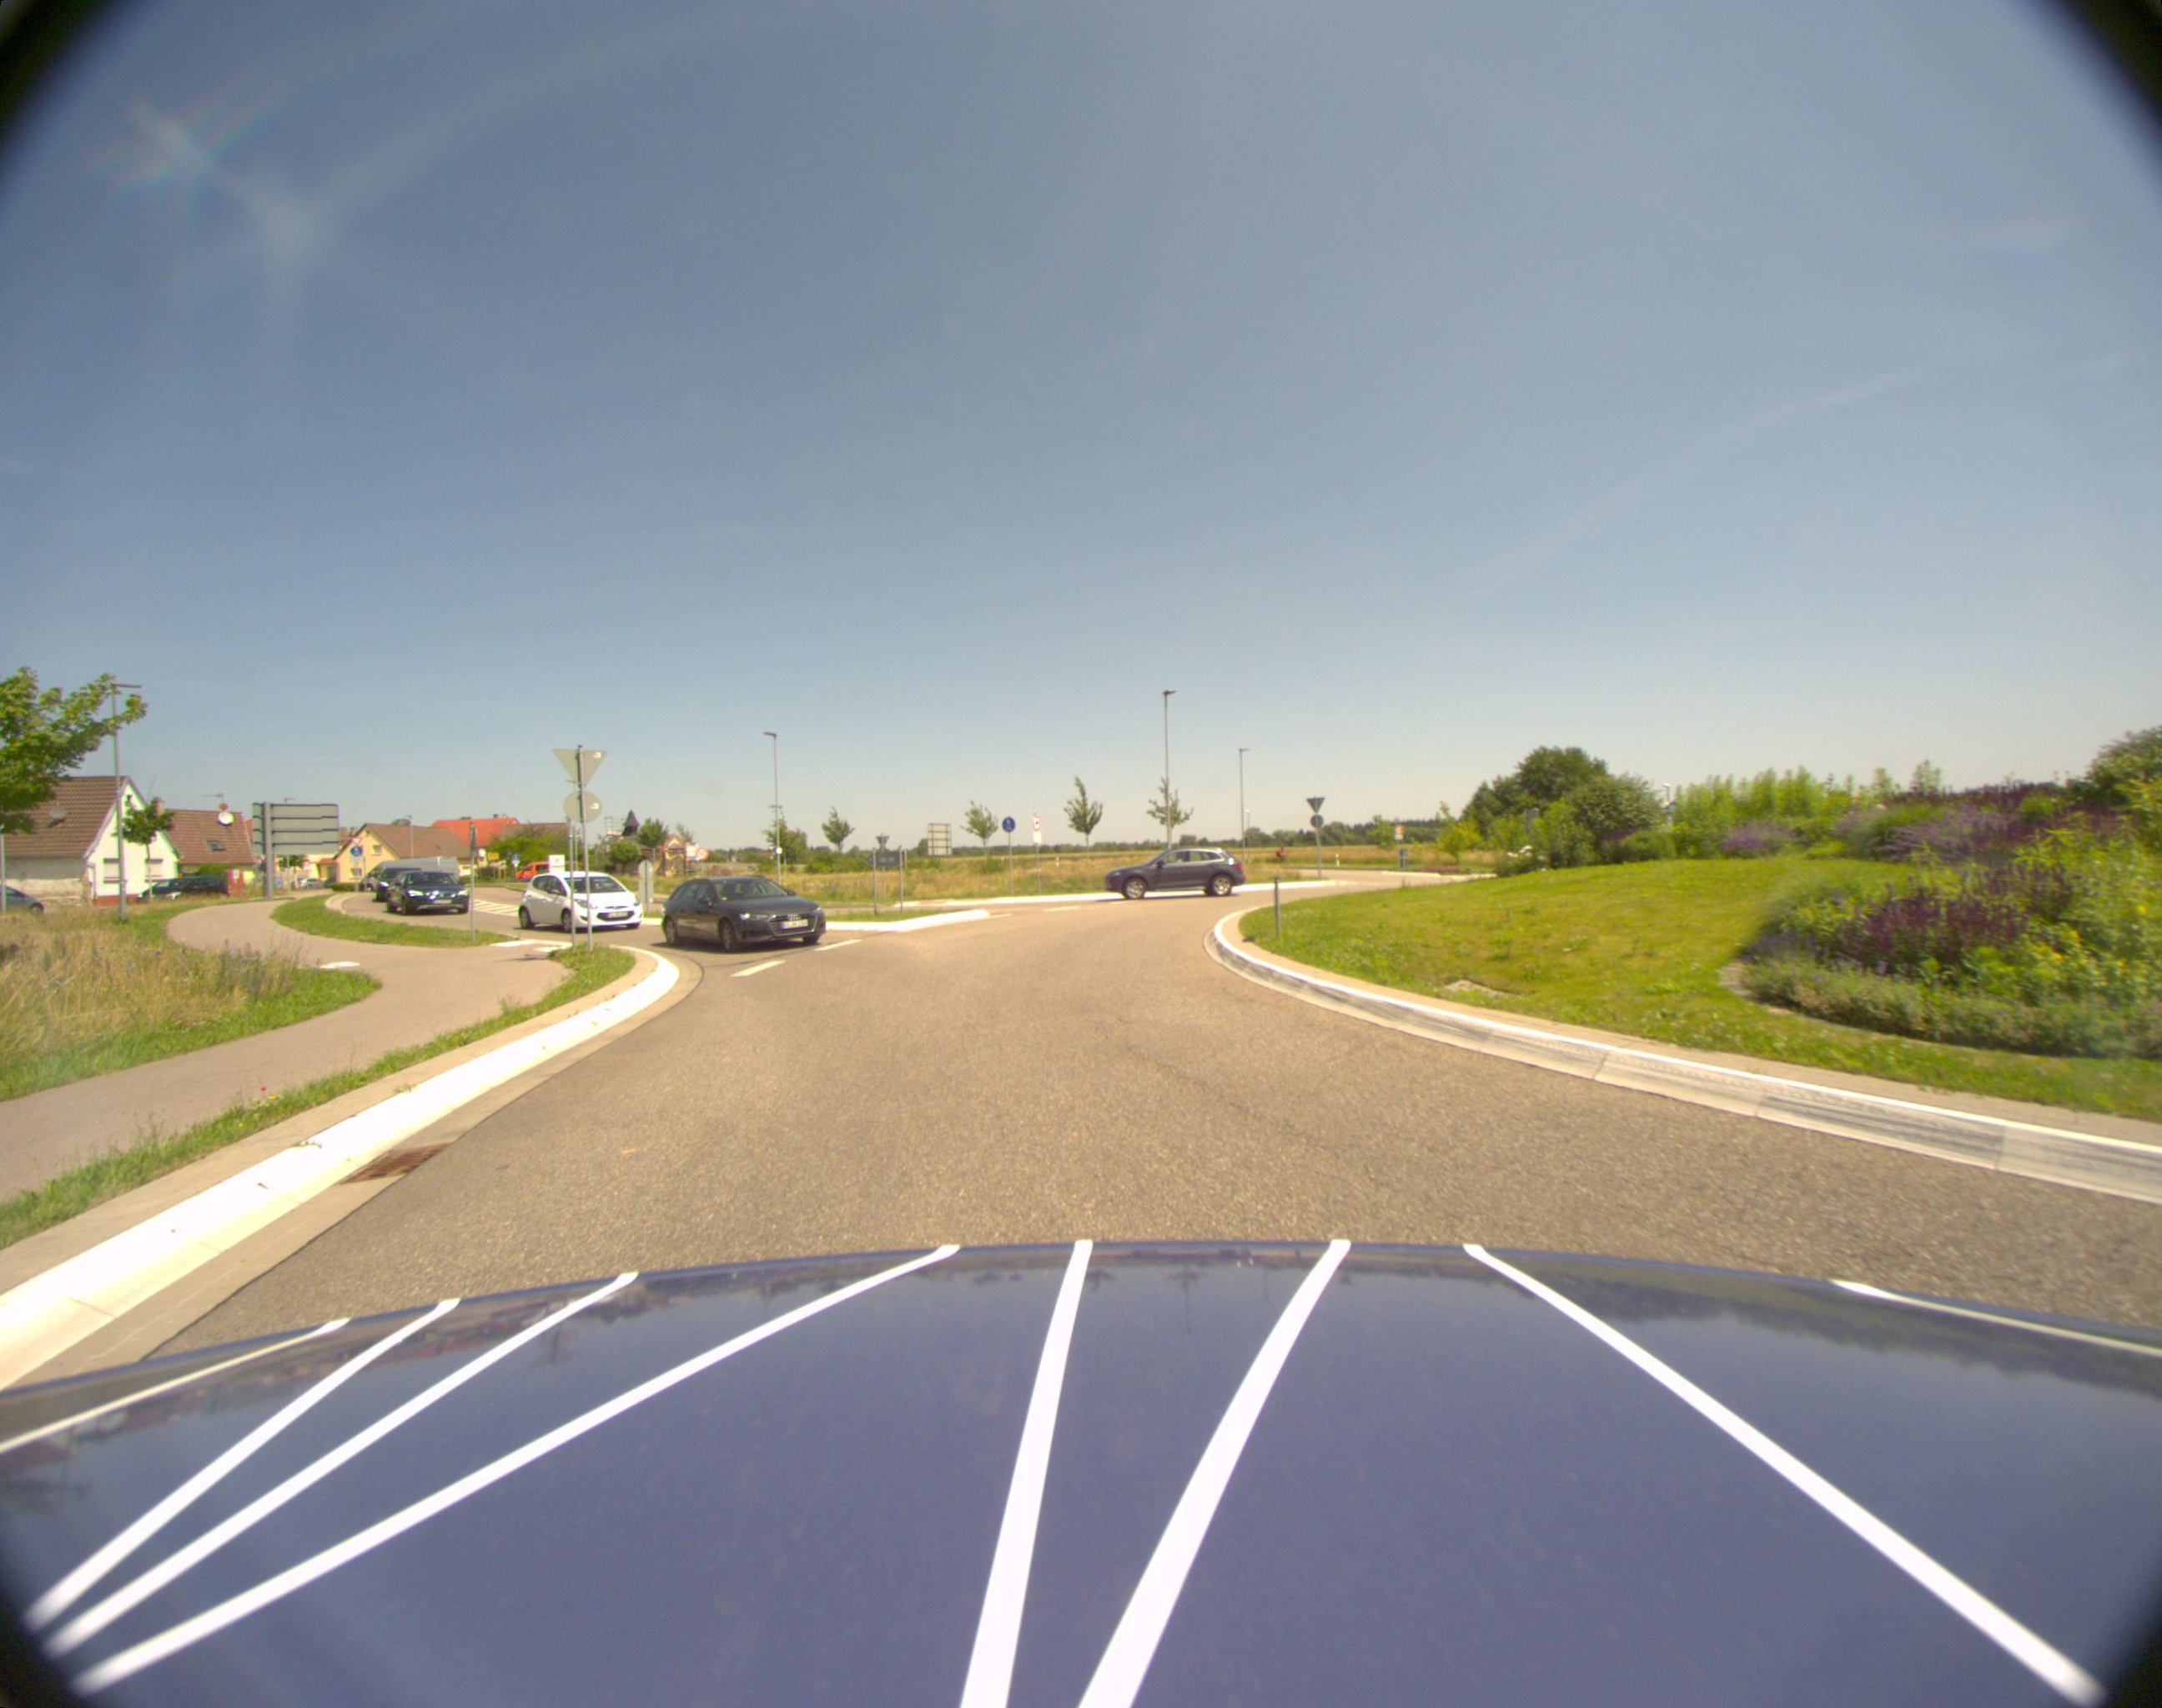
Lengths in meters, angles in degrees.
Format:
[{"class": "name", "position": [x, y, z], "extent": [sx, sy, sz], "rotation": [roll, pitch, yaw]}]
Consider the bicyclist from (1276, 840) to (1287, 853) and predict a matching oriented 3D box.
[{"class": "bicyclist", "position": [17.963, -0.666, 68.139], "extent": [0.580, 1.072, 0.722], "rotation": [-2, 1, -43]}]

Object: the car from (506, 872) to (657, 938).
[{"class": "car", "position": [-13.975, 1.343, 21.177], "extent": [4.508, 1.553, 1.873], "rotation": [-1, 1, 35]}]

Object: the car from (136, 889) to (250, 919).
[{"class": "car", "position": [-48.769, 2.715, 41.860], "extent": [1.853, 1.343, 3.766], "rotation": [-2, 0, -2]}]

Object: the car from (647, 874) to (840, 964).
[{"class": "car", "position": [-7.037, 1.207, 15.616], "extent": [4.508, 1.426, 1.872], "rotation": [-1, 3, 42]}]

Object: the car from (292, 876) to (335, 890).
[{"class": "car", "position": [-95.445, 3.596, 94.483], "extent": [1.518, 1.461, 3.583], "rotation": [-1, 0, 5]}]

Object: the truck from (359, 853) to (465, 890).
[{"class": "truck", "position": [-49.362, 1.252, 56.175], "extent": [5.633, 2.491, 2.236], "rotation": [-2, 1, -3]}]

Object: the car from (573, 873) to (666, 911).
[{"class": "car", "position": [-20.452, 1.674, 33.619], "extent": [4.854, 1.482, 1.841], "rotation": [-2, 0, 38]}]

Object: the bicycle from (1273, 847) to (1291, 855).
[{"class": "bicycle", "position": [18.027, -0.250, 68.096], "extent": [0.580, 0.725, 1.466], "rotation": [-2, 1, -44]}]

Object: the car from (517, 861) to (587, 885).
[{"class": "car", "position": [-60.144, 2.163, 86.408], "extent": [6.134, 2.569, 2.356], "rotation": [-2, 0, -4]}]

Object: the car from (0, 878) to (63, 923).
[{"class": "car", "position": [-46.502, 2.034, 32.326], "extent": [1.856, 1.820, 3.993], "rotation": [-2, 0, -19]}]

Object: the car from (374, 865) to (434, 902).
[{"class": "car", "position": [-32.344, 1.354, 36.426], "extent": [1.873, 1.553, 4.712], "rotation": [-3, 1, -39]}]

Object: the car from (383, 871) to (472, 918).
[{"class": "car", "position": [-24.666, 1.466, 28.648], "extent": [4.139, 1.553, 1.725], "rotation": [-1, 2, 39]}]

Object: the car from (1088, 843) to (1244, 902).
[{"class": "car", "position": [2.777, 0.601, 25.477], "extent": [4.887, 1.639, 1.953], "rotation": [-3, 0, -2]}]
